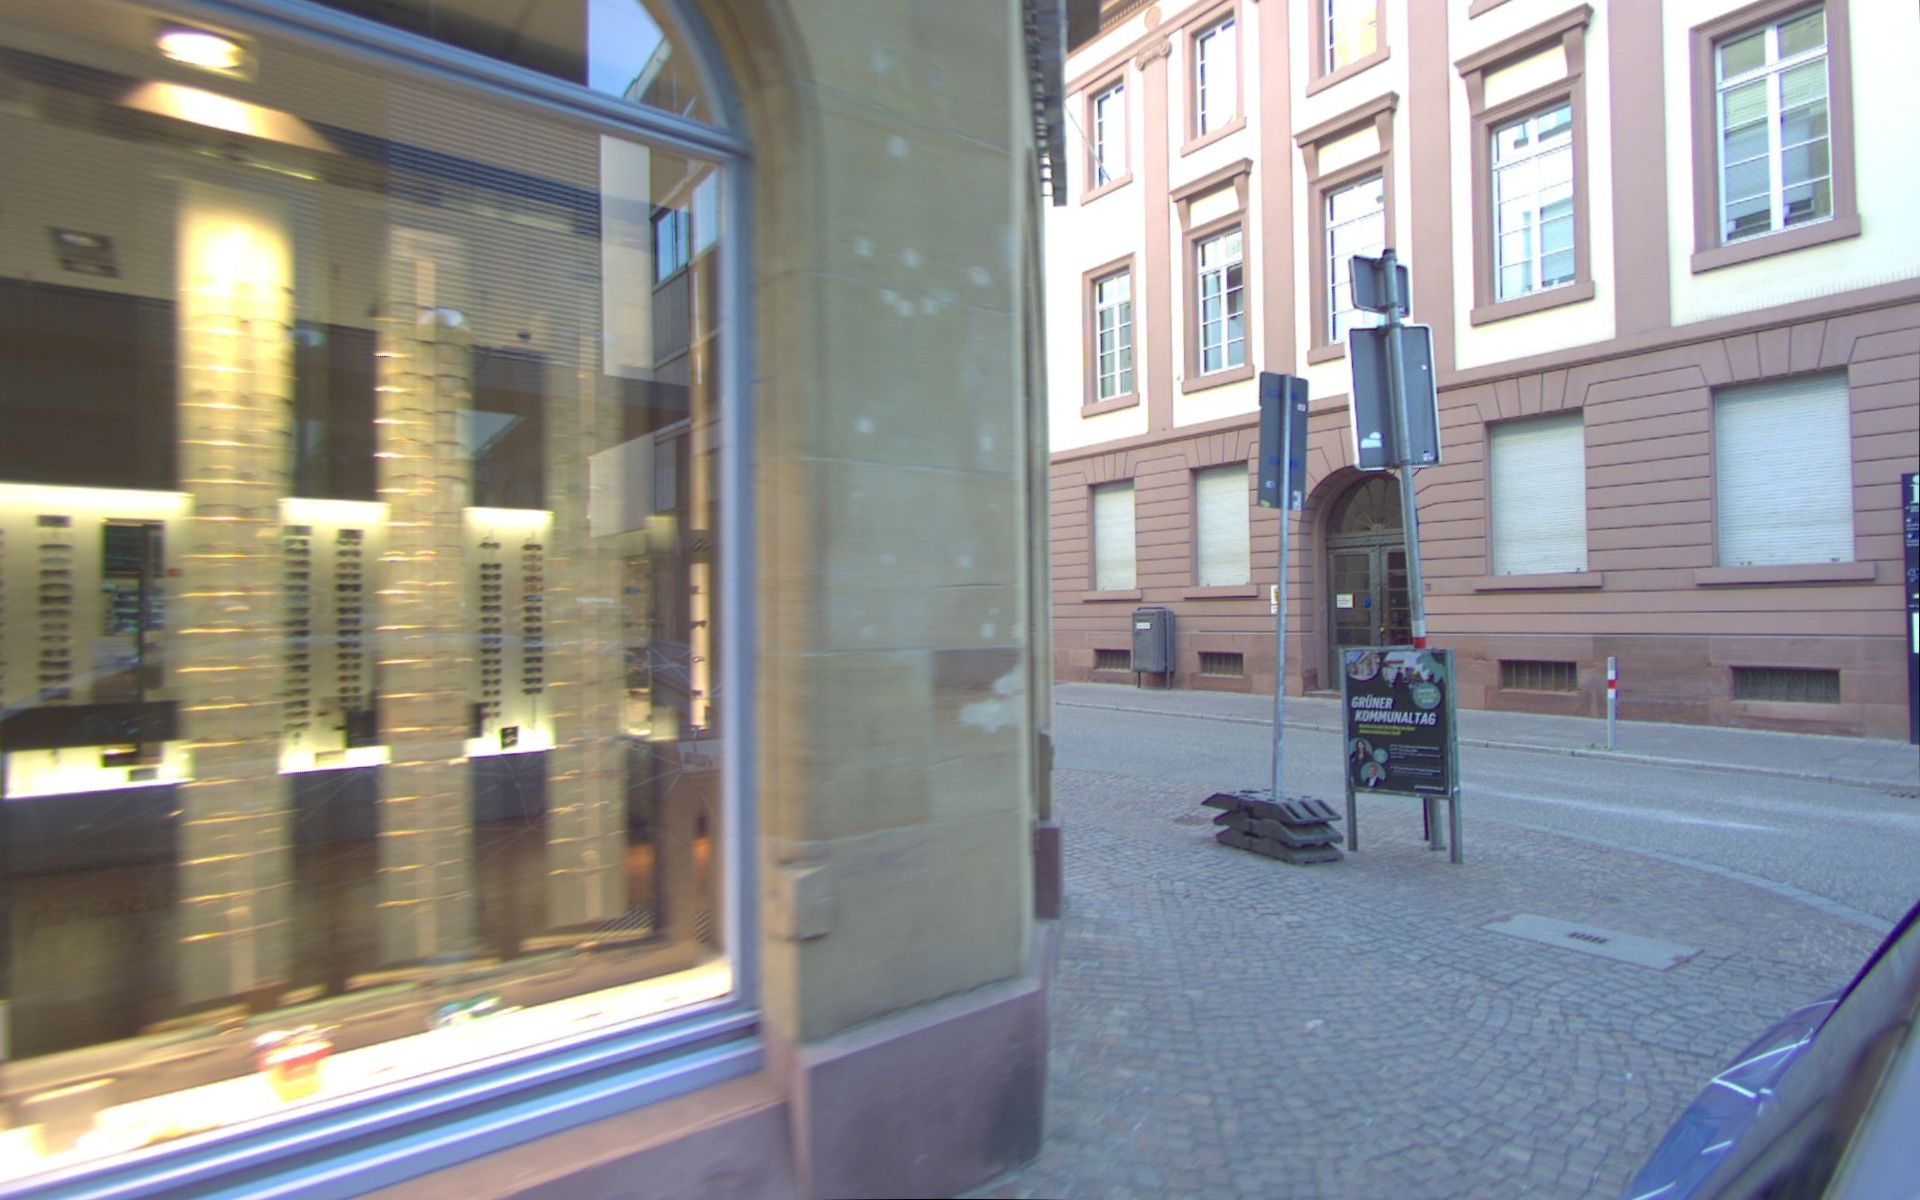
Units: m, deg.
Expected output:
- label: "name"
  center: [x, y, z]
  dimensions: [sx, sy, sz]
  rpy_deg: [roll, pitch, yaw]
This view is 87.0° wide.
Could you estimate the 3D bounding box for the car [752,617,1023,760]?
- label: "car"
  center: [-1.098, 1.020, 13.173]
  dimensions: [1.620, 1.460, 3.998]
  rpy_deg: [-3, 1, -35]
